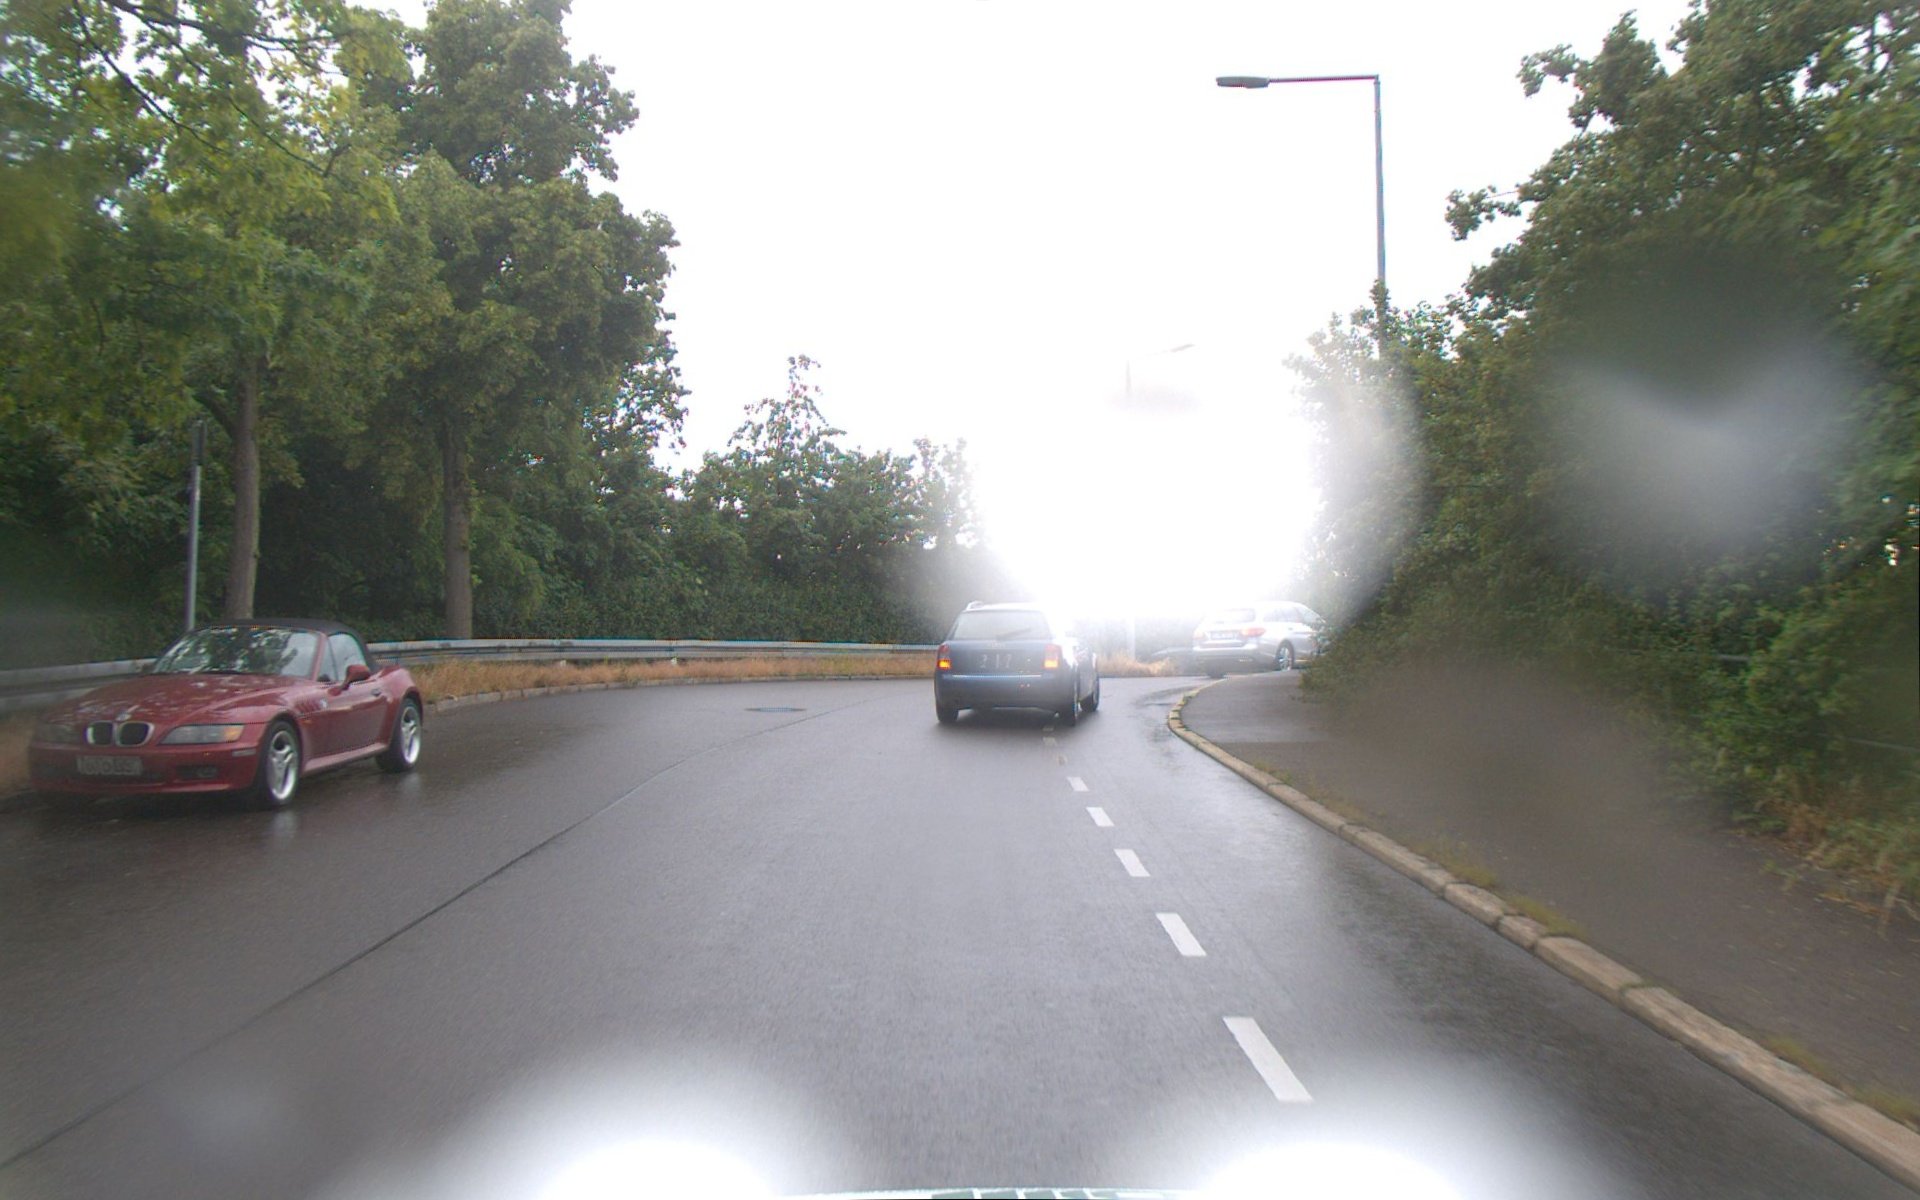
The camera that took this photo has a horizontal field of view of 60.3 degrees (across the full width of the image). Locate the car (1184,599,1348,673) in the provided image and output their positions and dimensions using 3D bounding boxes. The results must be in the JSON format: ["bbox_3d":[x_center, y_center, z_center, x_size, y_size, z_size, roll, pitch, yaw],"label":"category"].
[{"bbox_3d":[6.293,0.701,33.736,1.858,1.413,3.987,-1,-1,34],"label":"car"}]

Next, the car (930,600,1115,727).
[{"bbox_3d":[0.893,0.731,20.962,1.710,1.432,4.003,0,0,11],"label":"car"}]

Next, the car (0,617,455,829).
[{"bbox_3d":[-5.539,0.821,12.876,1.752,1.319,4.326,-1,0,2],"label":"car"}]
